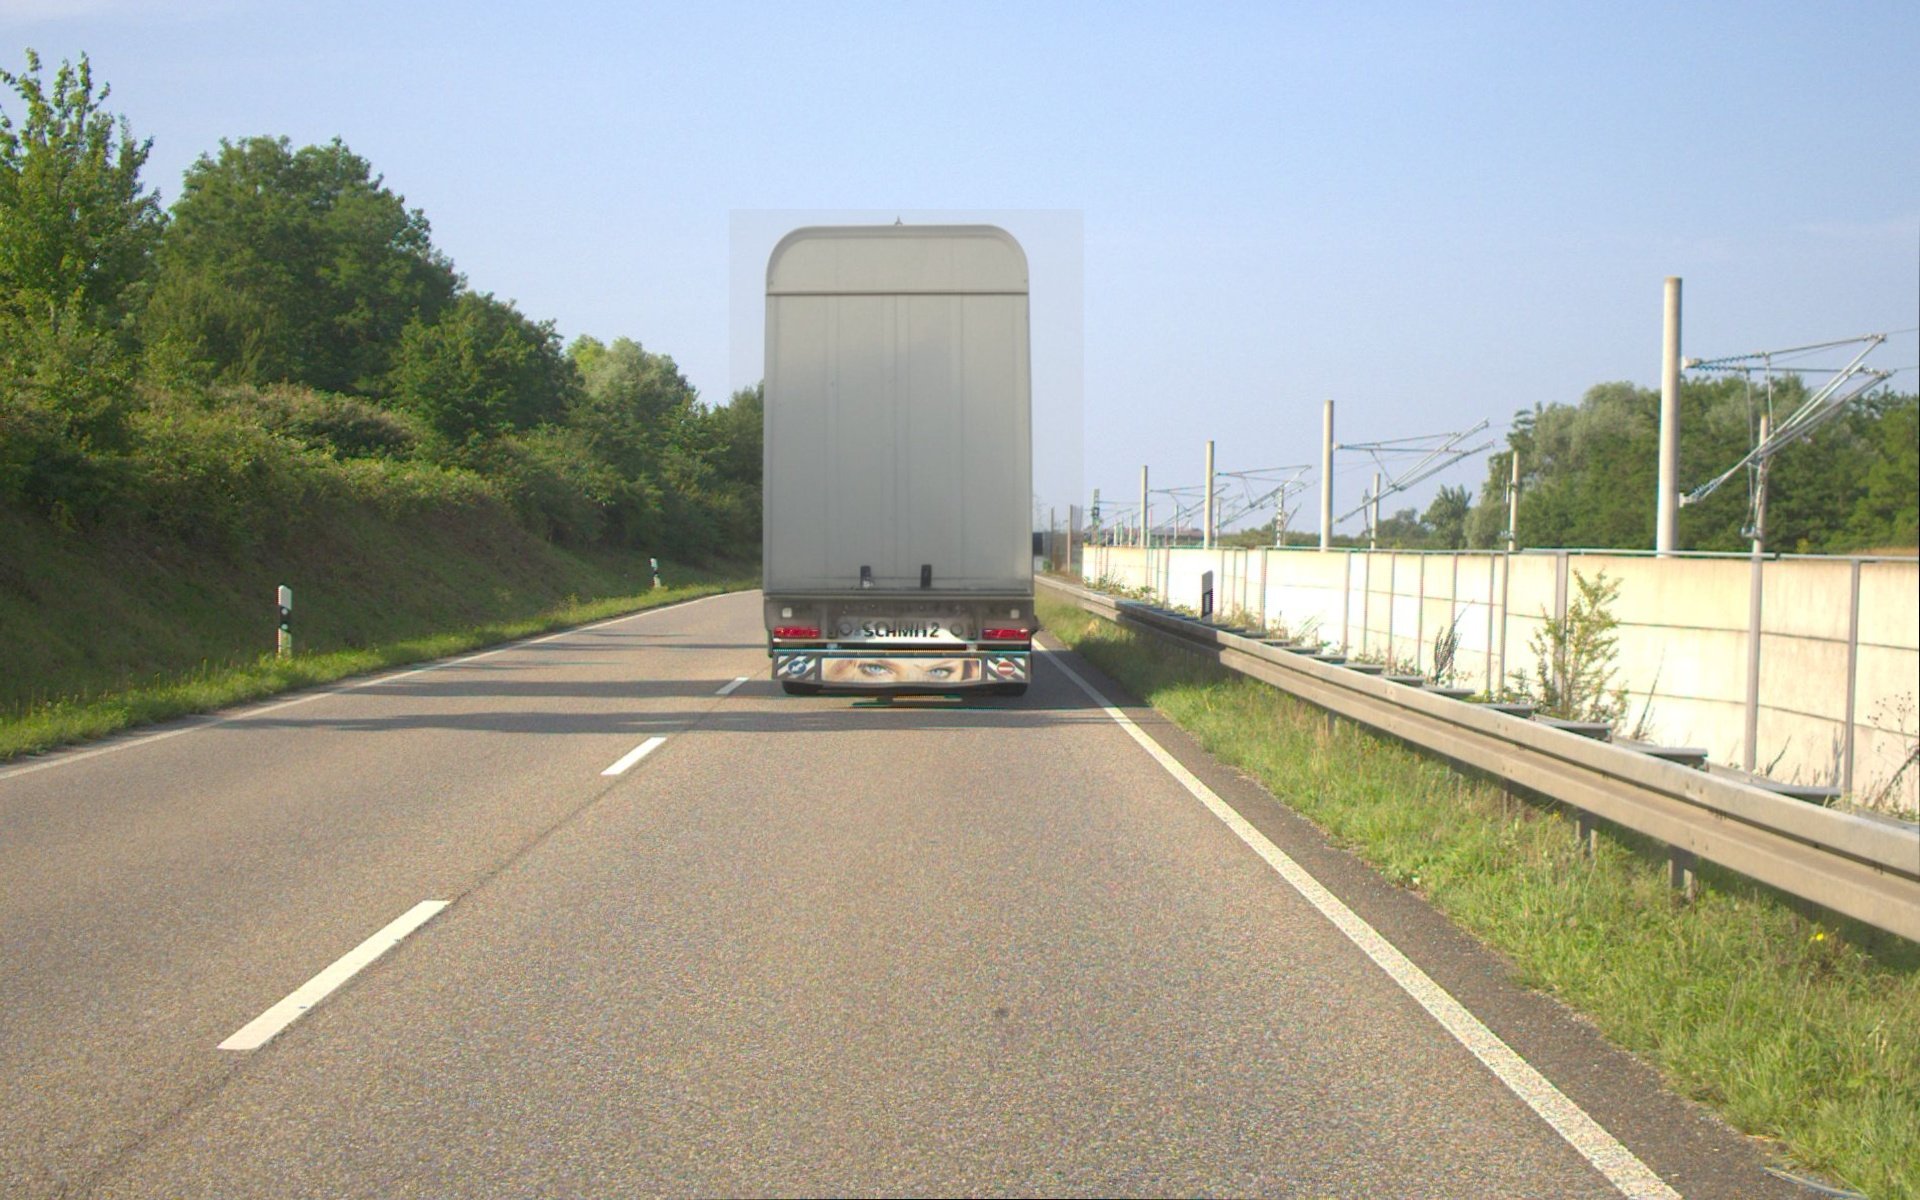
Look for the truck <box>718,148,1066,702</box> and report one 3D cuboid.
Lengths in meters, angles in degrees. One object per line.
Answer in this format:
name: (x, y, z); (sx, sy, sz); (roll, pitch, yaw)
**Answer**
truck: (-0.775, -1.645, 36.608); (3.033, 4.903, 11.685); (1, 1, -2)
